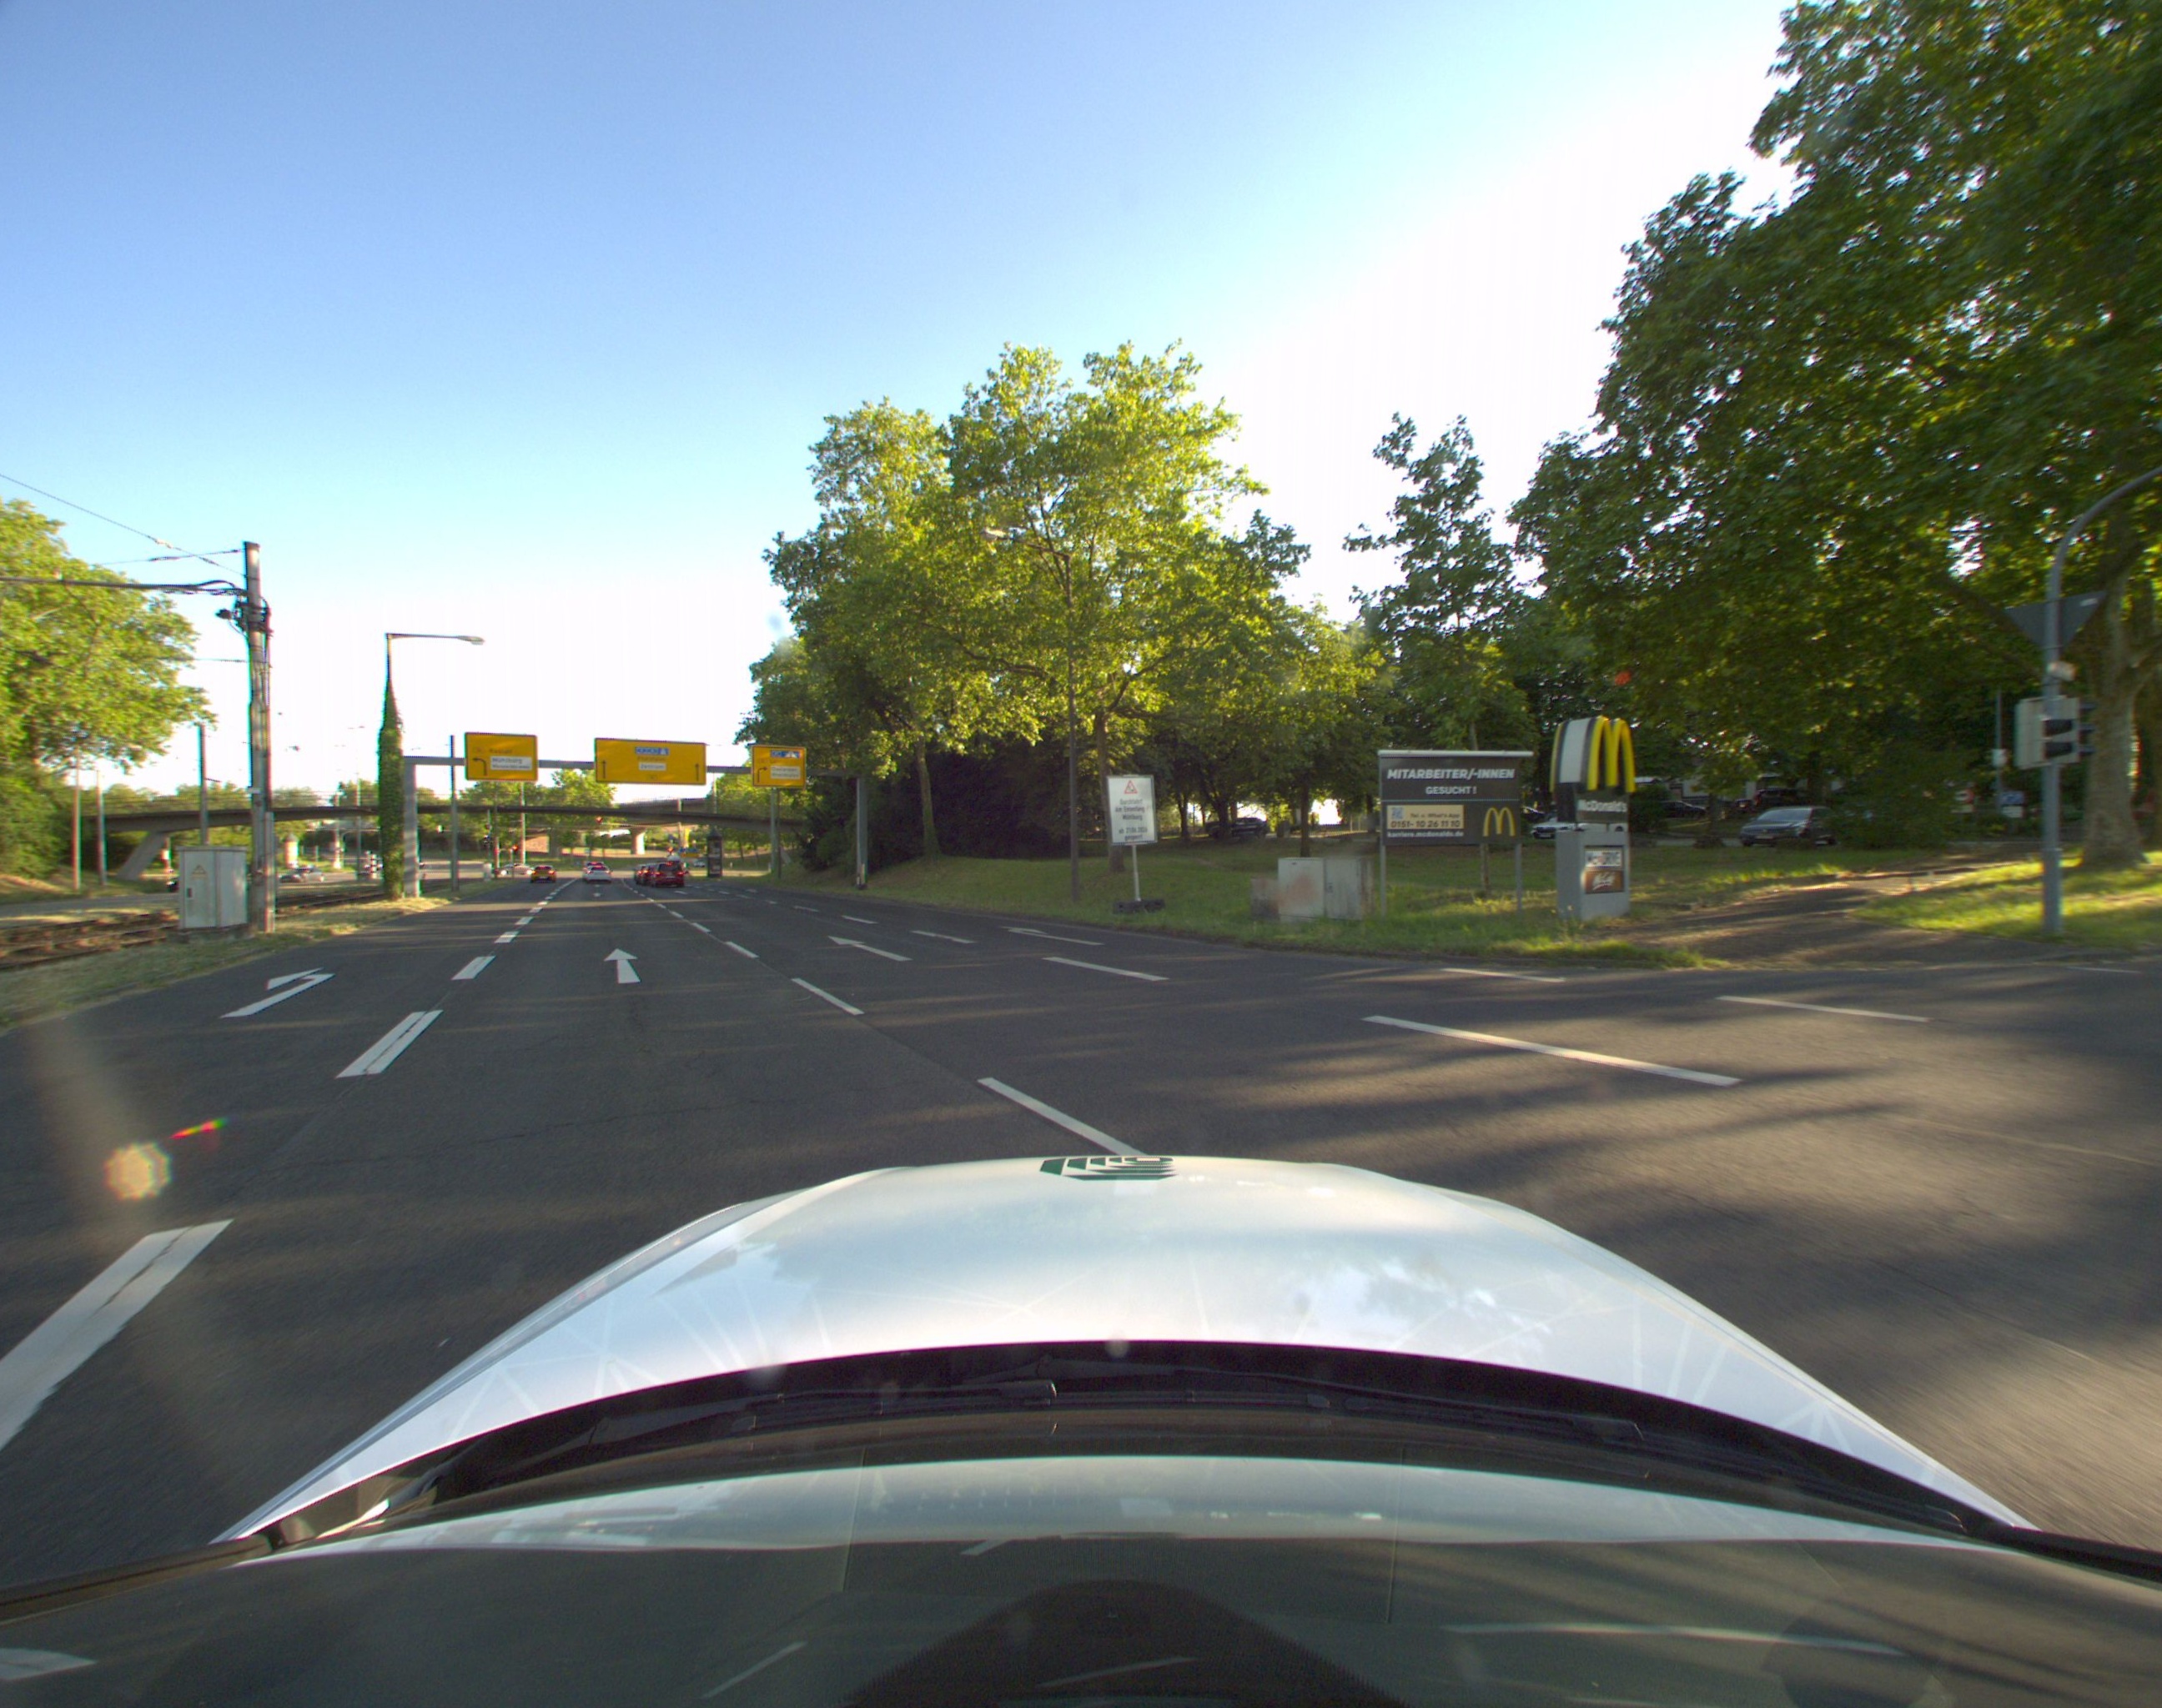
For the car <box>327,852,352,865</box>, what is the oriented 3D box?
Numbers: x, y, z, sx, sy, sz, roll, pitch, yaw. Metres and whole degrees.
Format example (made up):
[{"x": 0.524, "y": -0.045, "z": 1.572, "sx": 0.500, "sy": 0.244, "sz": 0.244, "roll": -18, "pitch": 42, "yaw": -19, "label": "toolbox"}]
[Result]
[{"x": -102.290, "y": 0.621, "z": 112.351, "sx": 1.891, "sy": 1.772, "sz": 3.959, "roll": 1, "pitch": 0, "yaw": -33, "label": "car"}]

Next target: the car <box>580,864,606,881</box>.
[{"x": -43.147, "y": 1.644, "z": 72.069, "sx": 1.752, "sy": 1.432, "sz": 4.370, "roll": 1, "pitch": -1, "yaw": -29, "label": "car"}]

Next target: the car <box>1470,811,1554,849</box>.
[{"x": 20.958, "y": -1.197, "z": 39.552, "sx": 4.243, "sy": 1.687, "sz": 1.808, "roll": -3, "pitch": 1, "yaw": -35, "label": "car"}]

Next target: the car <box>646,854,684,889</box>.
[{"x": -27.083, "y": 1.080, "z": 52.971, "sx": 1.804, "sy": 2.105, "sz": 3.960, "roll": -3, "pitch": 1, "yaw": -31, "label": "car"}]

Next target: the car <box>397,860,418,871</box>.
[{"x": -99.962, "y": 1.664, "z": 120.854, "sx": 1.891, "sy": 1.575, "sz": 3.637, "roll": 1, "pitch": 0, "yaw": -33, "label": "car"}]

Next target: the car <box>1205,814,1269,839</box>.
[{"x": 10.737, "y": -1.909, "z": 55.984, "sx": 4.008, "sy": 1.552, "sz": 1.792, "roll": -2, "pitch": 1, "yaw": -26, "label": "car"}]

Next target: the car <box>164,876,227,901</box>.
[{"x": -66.632, "y": 2.543, "z": 61.335, "sx": 2.006, "sy": 1.681, "sz": 4.150, "roll": -2, "pitch": 1, "yaw": -30, "label": "car"}]

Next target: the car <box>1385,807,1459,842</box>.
[{"x": 18.018, "y": -1.557, "z": 42.917, "sx": 4.247, "sy": 1.687, "sz": 1.806, "roll": -3, "pitch": 1, "yaw": -40, "label": "car"}]

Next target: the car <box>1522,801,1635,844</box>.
[{"x": 22.142, "y": -1.400, "z": 36.209, "sx": 4.910, "sy": 1.706, "sz": 1.983, "roll": -3, "pitch": 1, "yaw": -27, "label": "car"}]

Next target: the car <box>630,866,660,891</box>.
[{"x": -33.938, "y": 1.883, "z": 63.322, "sx": 1.804, "sy": 1.749, "sz": 3.960, "roll": -3, "pitch": 1, "yaw": -31, "label": "car"}]

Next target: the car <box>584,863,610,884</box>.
[{"x": -39.449, "y": 1.538, "z": 66.348, "sx": 1.674, "sy": 1.565, "sz": 4.149, "roll": -3, "pitch": 1, "yaw": -31, "label": "car"}]

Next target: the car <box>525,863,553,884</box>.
[{"x": -44.577, "y": 1.553, "z": 67.022, "sx": 1.674, "sy": 1.565, "sz": 3.960, "roll": -3, "pitch": 1, "yaw": -31, "label": "car"}]

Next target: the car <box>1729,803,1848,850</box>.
[{"x": 25.831, "y": -1.013, "z": 29.717, "sx": 4.417, "sy": 1.574, "sz": 2.023, "roll": -3, "pitch": 1, "yaw": -31, "label": "car"}]

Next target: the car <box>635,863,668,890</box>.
[{"x": -30.731, "y": 1.589, "z": 58.181, "sx": 1.804, "sy": 1.749, "sz": 4.199, "roll": -3, "pitch": 1, "yaw": -31, "label": "car"}]

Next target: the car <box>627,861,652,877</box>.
[{"x": -40.585, "y": 1.348, "z": 74.833, "sx": 1.804, "sy": 1.382, "sz": 4.432, "roll": -3, "pitch": 1, "yaw": -31, "label": "car"}]

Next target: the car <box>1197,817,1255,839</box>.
[{"x": 11.226, "y": -2.002, "z": 63.167, "sx": 3.997, "sy": 1.552, "sz": 1.797, "roll": -2, "pitch": 1, "yaw": -17, "label": "car"}]

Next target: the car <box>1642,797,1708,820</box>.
[{"x": 45.516, "y": -3.464, "z": 62.432, "sx": 3.948, "sy": 1.552, "sz": 1.819, "roll": -2, "pitch": 1, "yaw": 40, "label": "car"}]
